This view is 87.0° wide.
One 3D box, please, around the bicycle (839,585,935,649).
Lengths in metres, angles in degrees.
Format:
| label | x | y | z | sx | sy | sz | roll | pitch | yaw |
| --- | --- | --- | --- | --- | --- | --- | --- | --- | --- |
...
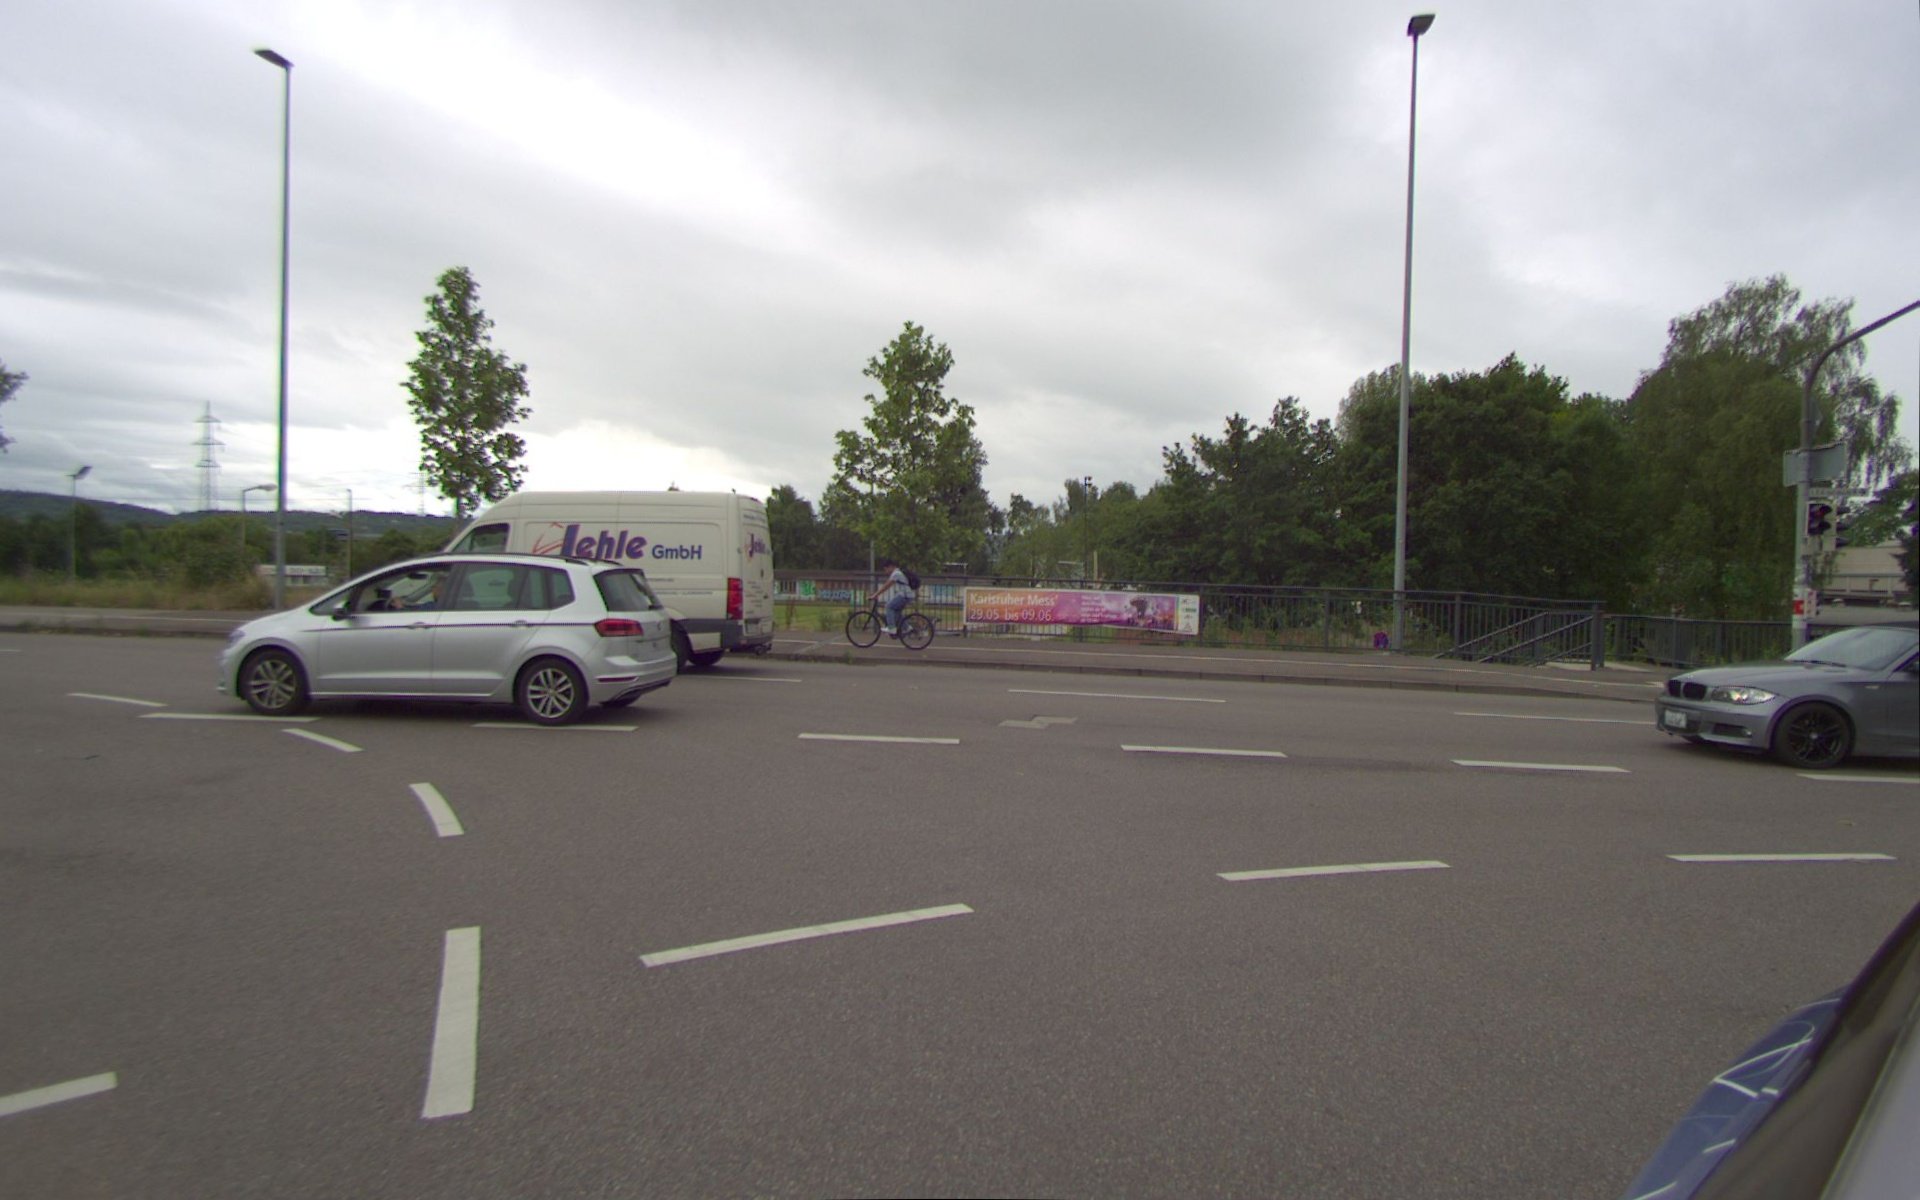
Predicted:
| label | x | y | z | sx | sy | sz | roll | pitch | yaw |
| --- | --- | --- | --- | --- | --- | --- | --- | --- | --- |
| bicycle | -1.347 | 0.297 | 18.797 | 1.680 | 1.058 | 0.548 | 3 | 4 | 8 |

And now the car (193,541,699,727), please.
| label | x | y | z | sx | sy | sz | roll | pitch | yaw |
| --- | --- | --- | --- | --- | --- | --- | --- | --- | --- |
| car | -4.932 | 0.287 | 10.123 | 4.123 | 1.571 | 1.860 | 2 | 1 | 2 |

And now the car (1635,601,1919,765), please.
| label | x | y | z | sx | sy | sz | roll | pitch | yaw |
| --- | --- | --- | --- | --- | --- | --- | --- | --- | --- |
| car | 9.472 | 0.796 | 9.948 | 4.268 | 1.408 | 1.873 | 2 | 1 | 6 |

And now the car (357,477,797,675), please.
| label | x | y | z | sx | sy | sz | roll | pitch | yaw |
| --- | --- | --- | --- | --- | --- | --- | --- | --- | --- |
| car | -5.738 | -0.384 | 15.729 | 5.796 | 2.659 | 2.661 | 2 | 1 | 6 |

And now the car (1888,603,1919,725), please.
| label | x | y | z | sx | sy | sz | roll | pitch | yaw |
| --- | --- | --- | --- | --- | --- | --- | --- | --- | --- |
| car | 14.292 | 0.894 | 12.558 | 3.712 | 1.581 | 1.651 | 2 | 1 | 11 |

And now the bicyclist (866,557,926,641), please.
| label | x | y | z | sx | sy | sz | roll | pitch | yaw |
| --- | --- | --- | --- | --- | --- | --- | --- | --- | --- |
| bicyclist | -1.185 | -0.038 | 18.730 | 0.952 | 1.470 | 0.691 | 3 | 4 | 8 |
